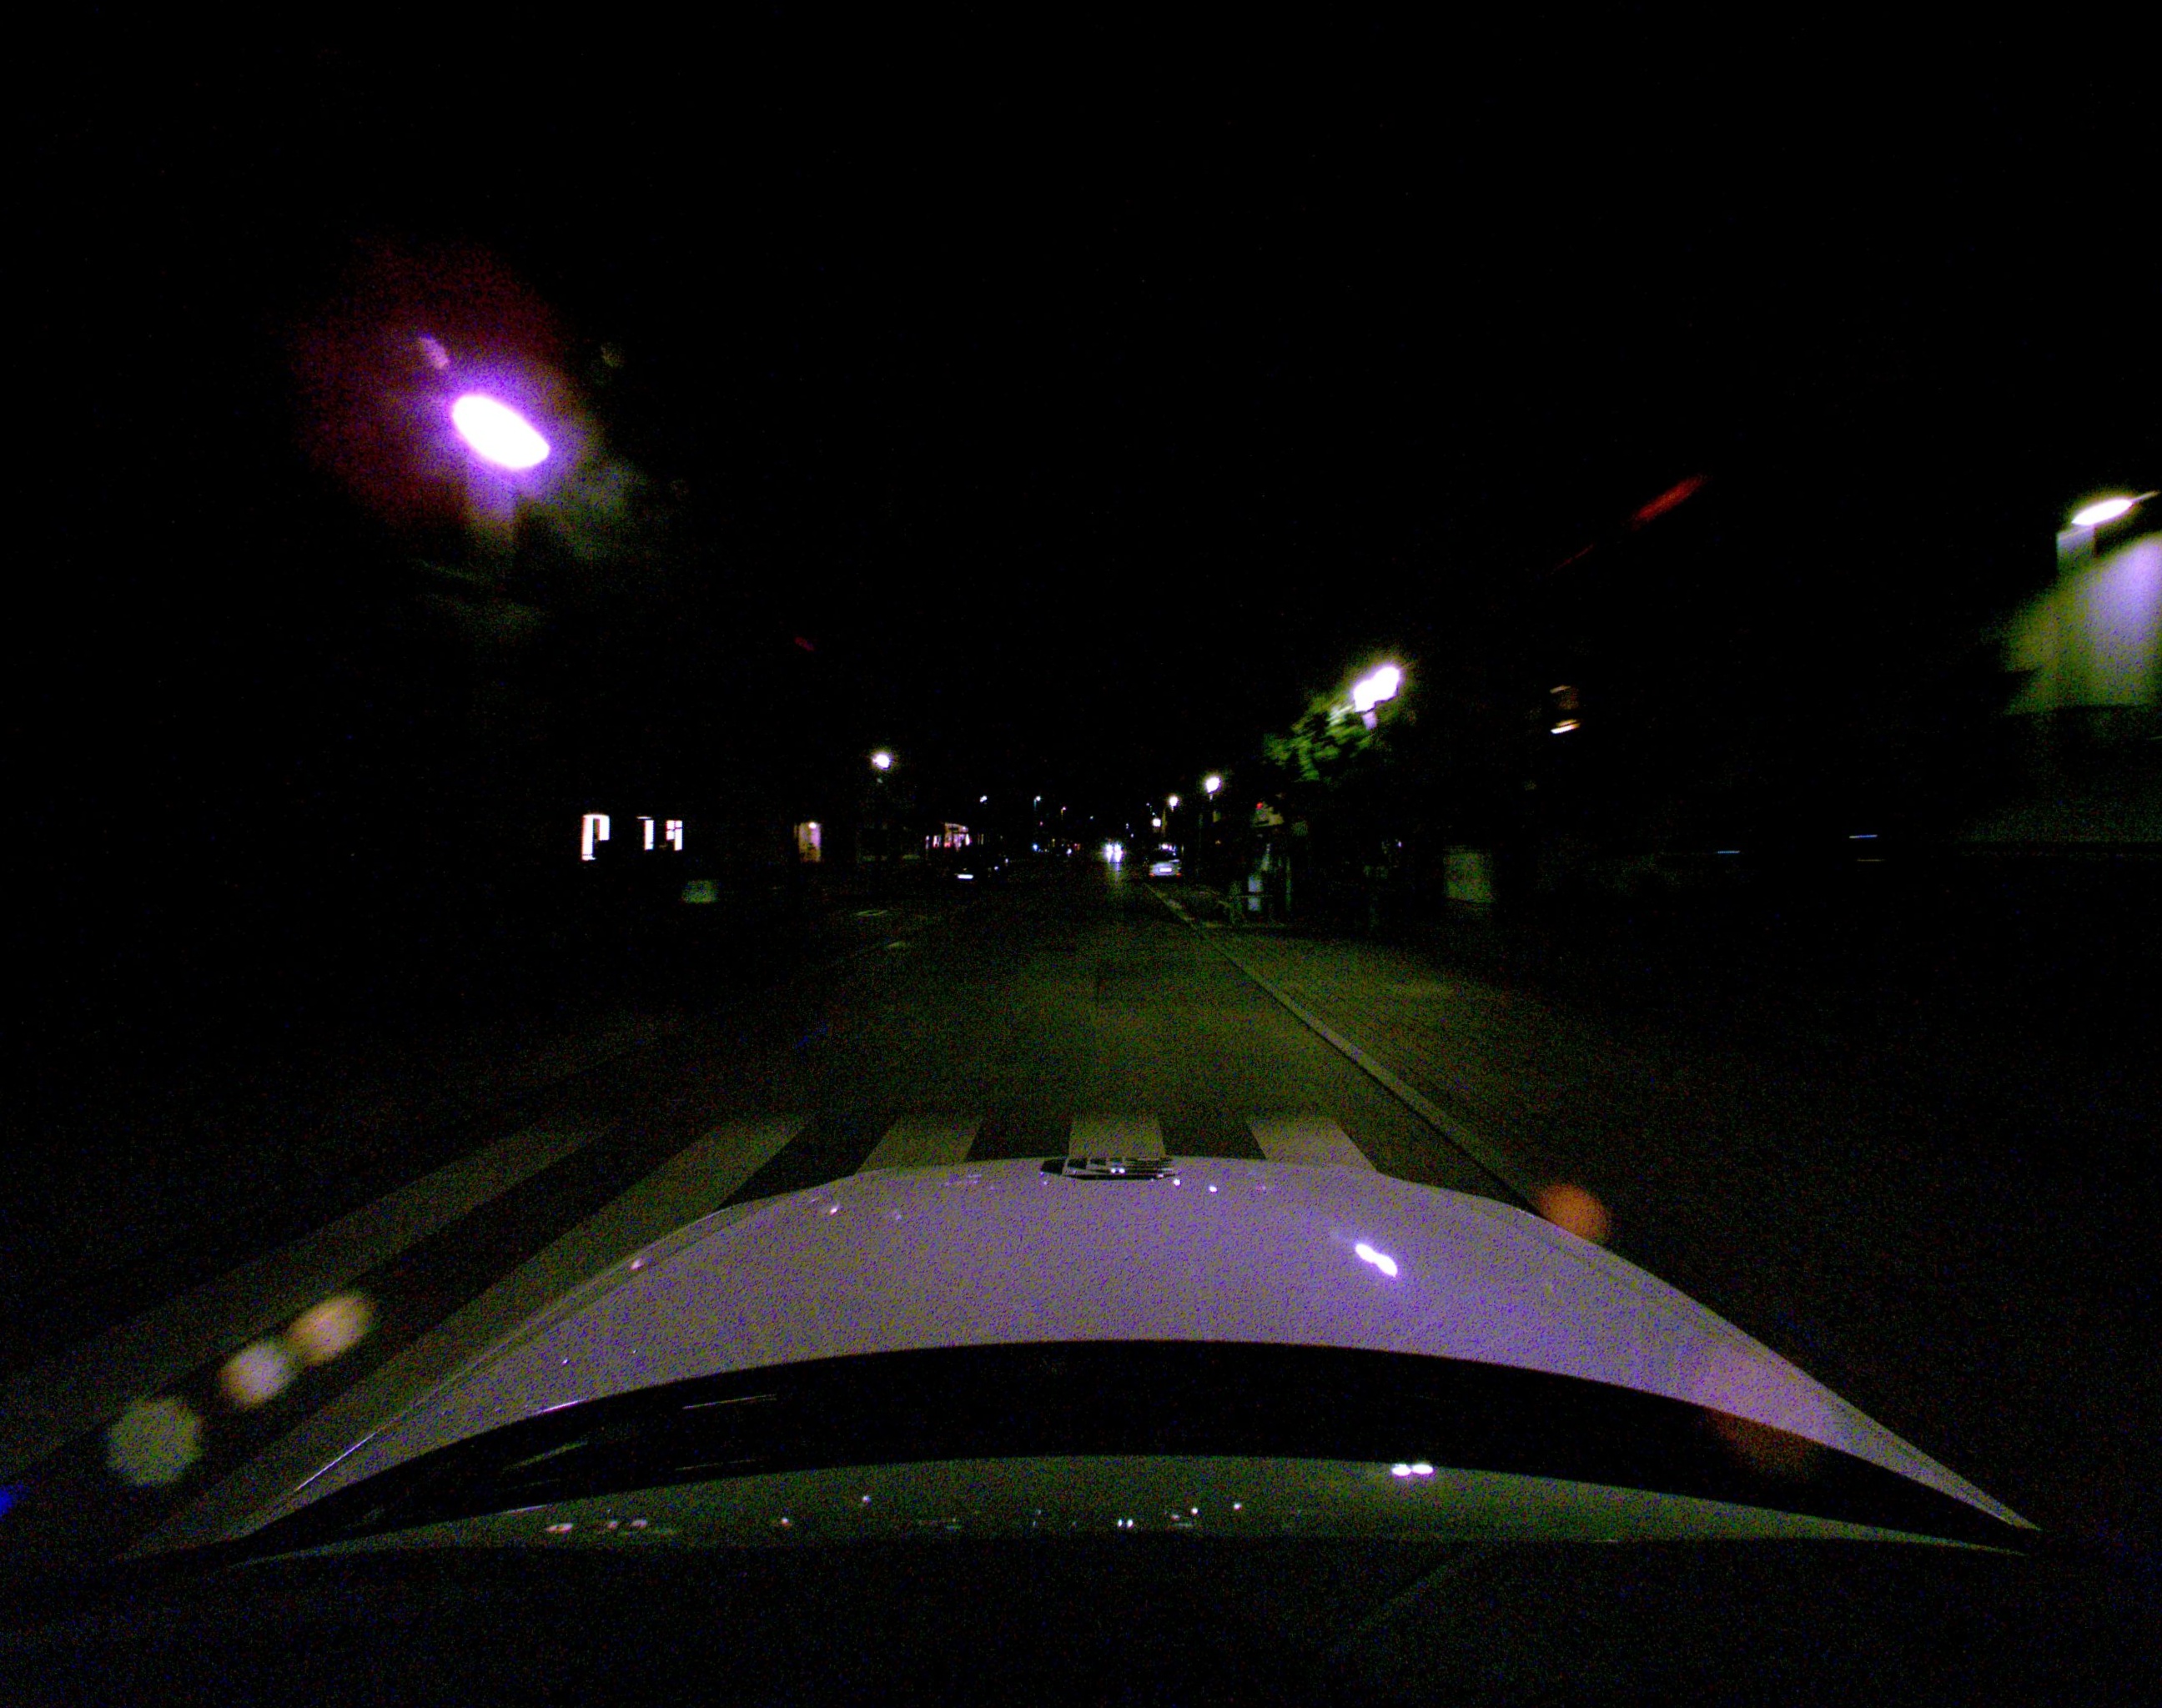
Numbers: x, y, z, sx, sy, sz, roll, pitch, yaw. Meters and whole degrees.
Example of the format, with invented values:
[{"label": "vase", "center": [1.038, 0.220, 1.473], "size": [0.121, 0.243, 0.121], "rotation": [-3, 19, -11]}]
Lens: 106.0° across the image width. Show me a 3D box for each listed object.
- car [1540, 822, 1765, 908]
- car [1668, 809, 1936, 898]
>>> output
[{"label": "car", "center": [11.680, 0.237, 17.045], "size": [1.799, 1.460, 4.056], "rotation": [-4, -1, 0]}, {"label": "car", "center": [14.348, 0.029, 16.586], "size": [1.799, 1.460, 4.056], "rotation": [-4, -1, 0]}]
